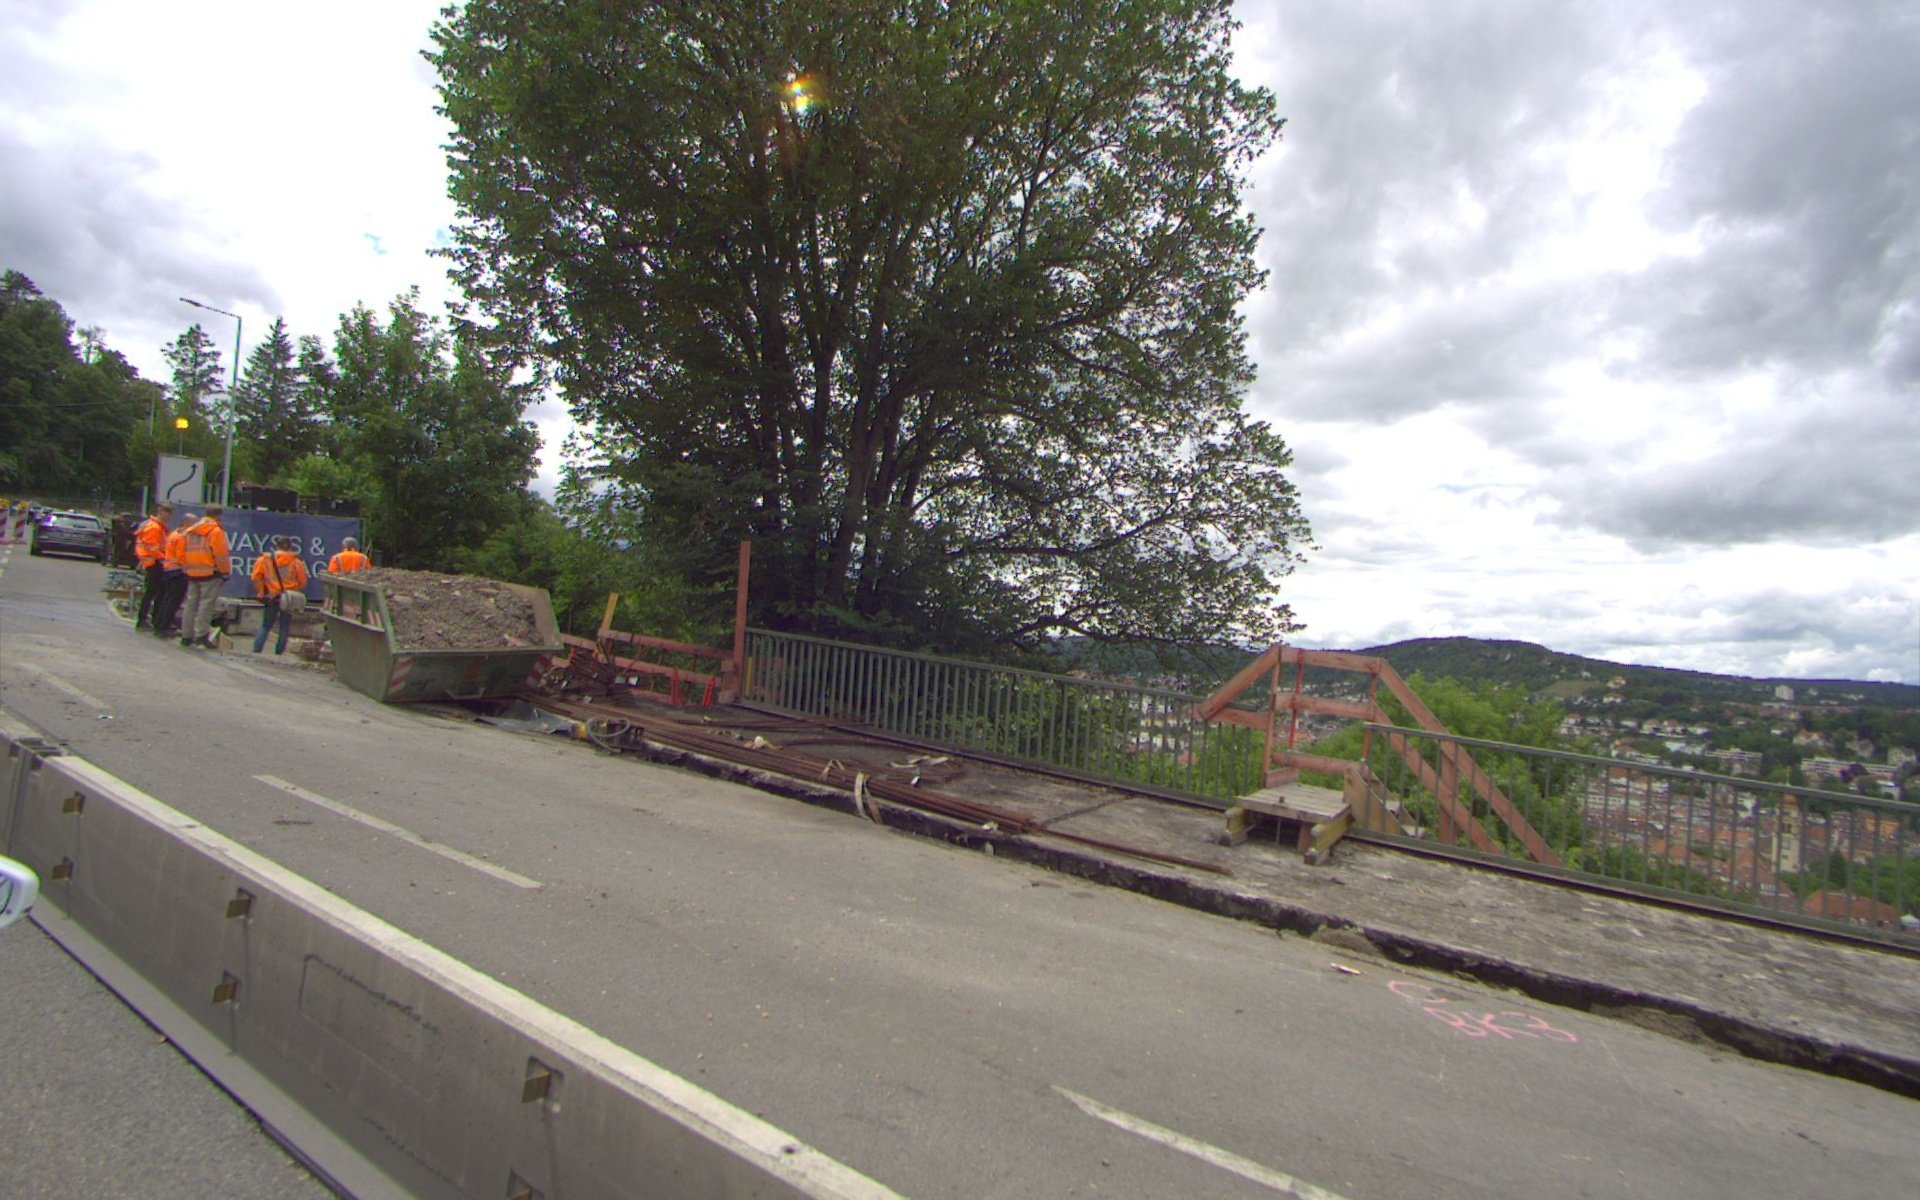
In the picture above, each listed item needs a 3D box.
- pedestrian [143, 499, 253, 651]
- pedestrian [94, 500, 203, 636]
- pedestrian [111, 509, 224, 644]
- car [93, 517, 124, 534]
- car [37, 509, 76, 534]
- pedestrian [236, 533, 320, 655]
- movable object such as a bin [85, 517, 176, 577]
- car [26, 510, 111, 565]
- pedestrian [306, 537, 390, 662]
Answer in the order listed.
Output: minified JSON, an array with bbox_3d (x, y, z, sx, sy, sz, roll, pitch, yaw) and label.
[{"bbox_3d":[-10.320,-0.328,13.641,0.810,1.929,0.692,7,-1,22],"label":"pedestrian"},{"bbox_3d":[-11.941,-0.467,14.811,0.864,1.844,0.877,7,-1,34],"label":"pedestrian"},{"bbox_3d":[-11.169,-0.324,14.188,0.864,1.751,0.877,7,-1,34],"label":"pedestrian"},{"bbox_3d":[-85.754,-7.462,101.363,1.783,1.384,3.965,8,-2,-34],"label":"car"},{"bbox_3d":[-61.970,-5.375,68.961,1.789,1.384,3.951,8,-2,-43],"label":"car"},{"bbox_3d":[-9.766,-0.083,14.403,0.779,1.627,0.660,8,-1,-40],"label":"pedestrian"},{"bbox_3d":[-24.417,-1.558,29.618,1.875,1.442,1.397,7,-2,31],"label":"movable object such as a bin"},{"bbox_3d":[-27.838,-1.960,31.449,1.788,1.384,3.954,8,-2,-42],"label":"car"},{"bbox_3d":[-8.953,-0.013,14.719,0.779,1.708,0.776,8,-1,-40],"label":"pedestrian"}]
